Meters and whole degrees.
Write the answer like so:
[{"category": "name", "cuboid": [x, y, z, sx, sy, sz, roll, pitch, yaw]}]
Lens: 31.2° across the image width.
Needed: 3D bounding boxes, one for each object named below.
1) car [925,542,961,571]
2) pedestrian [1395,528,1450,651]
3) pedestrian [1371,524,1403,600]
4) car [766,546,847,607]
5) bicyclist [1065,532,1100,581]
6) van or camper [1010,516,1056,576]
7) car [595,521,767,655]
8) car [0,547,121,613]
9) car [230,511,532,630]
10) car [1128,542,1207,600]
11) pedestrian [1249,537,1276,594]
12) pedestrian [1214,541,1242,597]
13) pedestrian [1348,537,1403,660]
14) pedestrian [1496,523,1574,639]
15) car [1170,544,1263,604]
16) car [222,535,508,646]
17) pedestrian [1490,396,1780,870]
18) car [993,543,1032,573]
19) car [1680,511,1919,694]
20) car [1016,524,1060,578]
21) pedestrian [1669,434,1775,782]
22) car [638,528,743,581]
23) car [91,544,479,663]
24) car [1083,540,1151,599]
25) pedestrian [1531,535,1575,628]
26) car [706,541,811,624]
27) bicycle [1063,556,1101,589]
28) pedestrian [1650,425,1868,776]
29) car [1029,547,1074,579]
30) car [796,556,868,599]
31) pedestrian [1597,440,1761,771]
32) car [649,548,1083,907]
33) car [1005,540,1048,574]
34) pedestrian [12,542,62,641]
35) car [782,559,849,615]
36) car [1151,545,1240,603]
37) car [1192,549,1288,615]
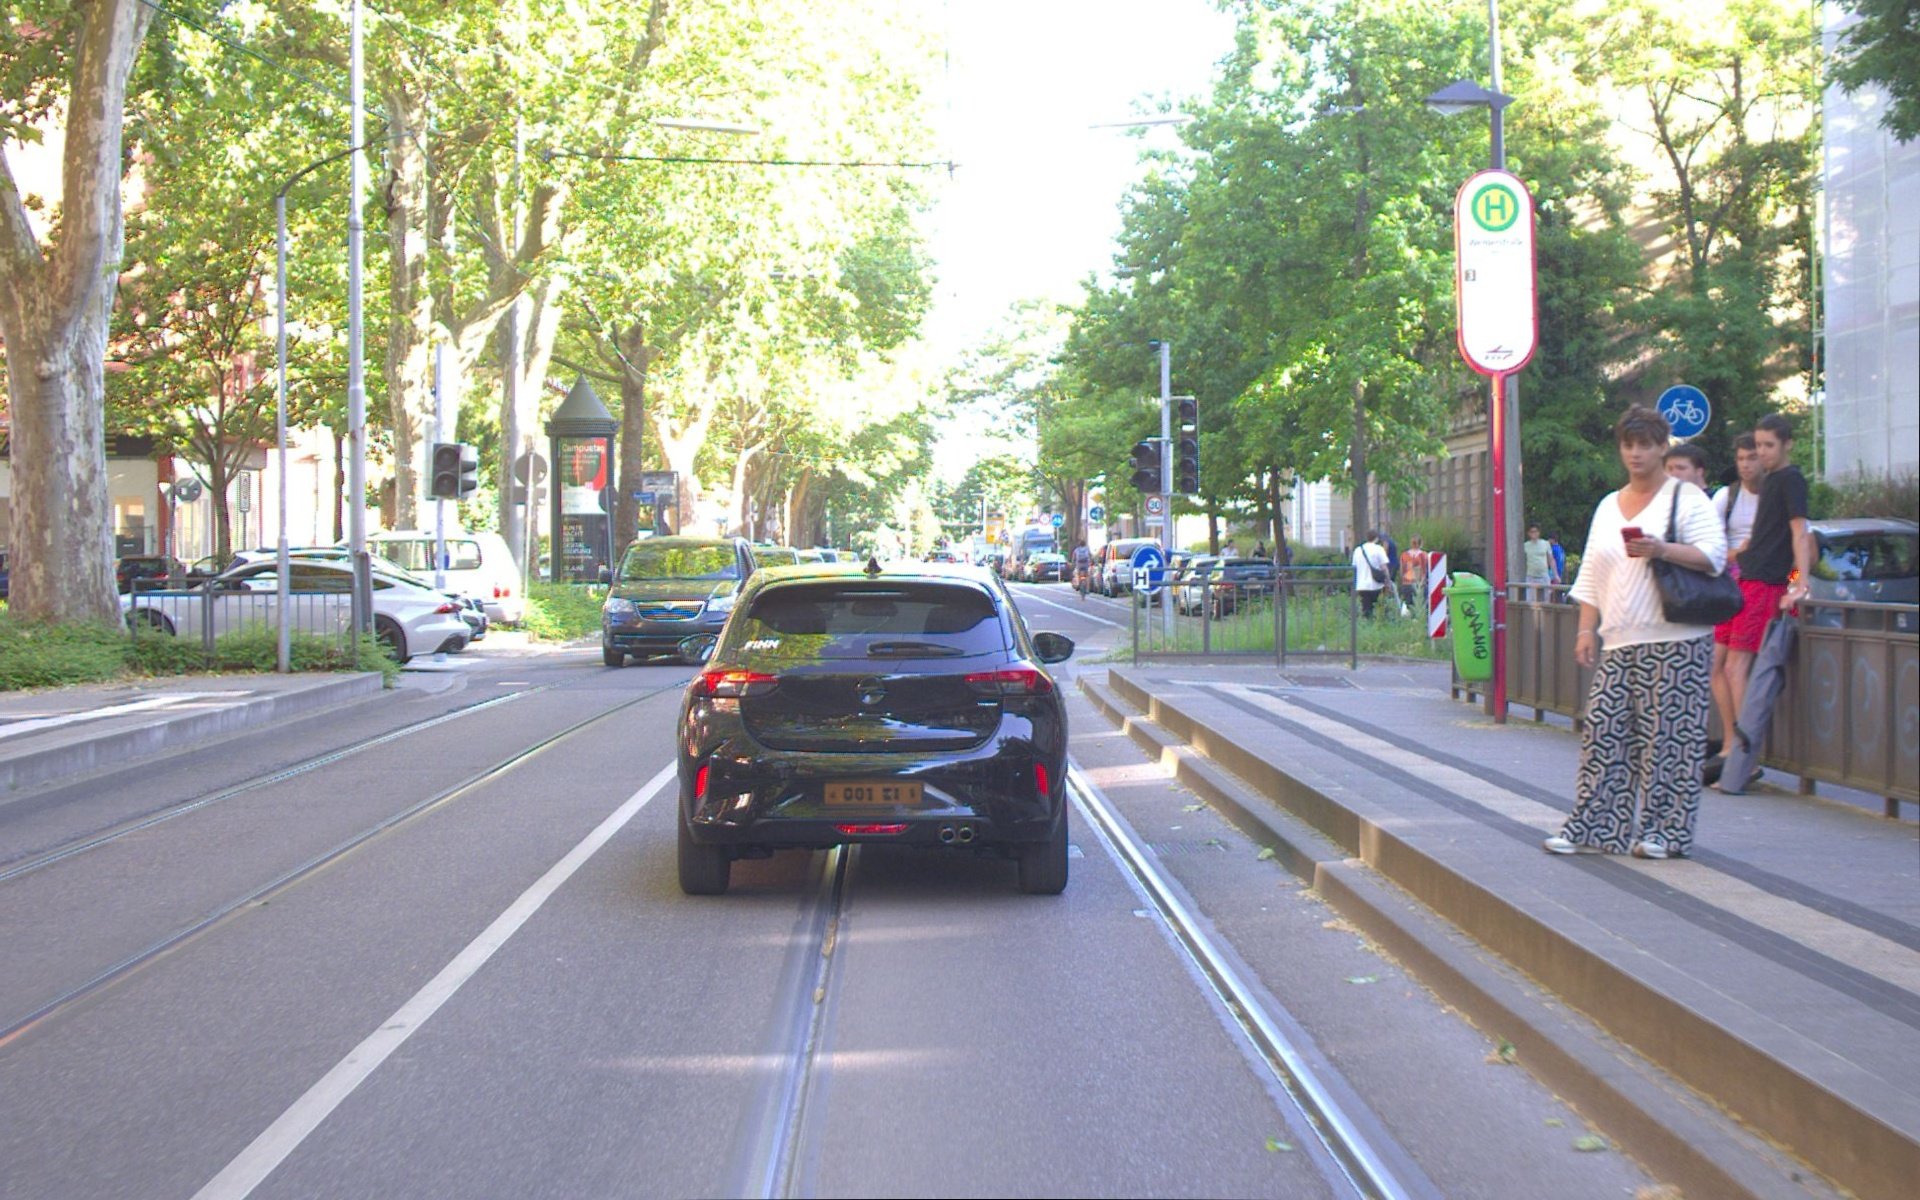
[{"category": "car", "cuboid": [-1.137, -2.806, 223.616, 2.254, 1.834, 5.531, -1, 1, -1]}, {"category": "pedestrian", "cuboid": [6.891, -0.163, 51.178, 0.726, 1.787, 0.967, -2, 1, 10]}, {"category": "pedestrian", "cuboid": [10.059, -0.897, 80.919, 0.598, 1.787, 0.728, 1, 0, -3]}, {"category": "car", "cuboid": [-3.752, -0.585, 84.555, 1.775, 1.456, 4.204, 1, 1, 0]}, {"category": "bicyclist", "cuboid": [3.763, -1.342, 105.833, 0.958, 1.494, 1.094, 1, 0, -2]}, {"category": "van or camper", "cuboid": [3.979, -2.964, 188.470, 2.254, 3.205, 5.531, -1, 1, -1]}, {"category": "car", "cuboid": [-3.773, -0.188, 47.286, 1.993, 1.710, 5.143, 1, 1, -1]}, {"category": "car", "cuboid": [-22.113, -0.485, 80.574, 4.526, 1.484, 1.861, 1, 1, -6]}, {"category": "car", "cuboid": [-9.302, -0.475, 55.518, 4.570, 1.828, 1.939, 1, 1, -2]}, {"category": "car", "cuboid": [5.968, -0.831, 99.221, 1.884, 1.562, 4.242, -2, 1, -1]}, {"category": "pedestrian", "cuboid": [9.140, -1.050, 103.802, 0.726, 1.703, 0.856, 1, 0, 1]}, {"category": "pedestrian", "cuboid": [8.106, -0.930, 103.828, 0.726, 1.687, 0.957, 1, 0, -1]}, {"category": "pedestrian", "cuboid": [6.190, -0.031, 51.187, 0.726, 1.787, 0.853, -2, 1, 10]}, {"category": "pedestrian", "cuboid": [9.478, -0.315, 56.672, 0.867, 1.878, 0.998, 1, 0, -18]}, {"category": "car", "cuboid": [6.317, -0.649, 85.175, 1.884, 1.363, 4.107, -2, 1, -1]}, {"category": "car", "cuboid": [-9.190, -0.156, 53.323, 4.139, 1.641, 1.902, 1, 1, -2]}, {"category": "pedestrian", "cuboid": [2.529, 0.114, 12.923, 0.638, 1.707, 0.836, 1, 1, -35]}, {"category": "car", "cuboid": [3.313, -2.666, 216.623, 2.254, 1.834, 5.531, -1, 1, -1]}, {"category": "car", "cuboid": [8.377, -0.030, 33.588, 1.762, 1.616, 4.442, -2, 1, 1]}, {"category": "car", "cuboid": [4.109, -2.615, 181.909, 2.085, 2.762, 4.698, -1, 1, -1]}, {"category": "pedestrian", "cuboid": [3.966, 0.035, 17.873, 0.493, 1.764, 0.703, 1, 0, 14]}, {"category": "car", "cuboid": [-13.606, -2.298, 173.859, 5.036, 2.366, 2.081, -3, 1, 0]}, {"category": "car", "cuboid": [-8.751, 0.040, 44.918, 4.763, 1.455, 1.955, 1, 1, -5]}, {"category": "car", "cuboid": [5.200, -1.009, 114.570, 1.884, 1.845, 4.968, -2, 1, -1]}, {"category": "pedestrian", "cuboid": [11.097, -0.344, 64.341, 0.617, 1.720, 0.554, 1, 0, -12]}, {"category": "car", "cuboid": [-4.133, -0.381, 71.103, 1.908, 1.632, 4.321, -1, 1, 0]}, {"category": "bicycle", "cuboid": [3.747, -0.848, 105.852, 0.968, 0.995, 2.583, 1, 1, -2]}, {"category": "pedestrian", "cuboid": [3.957, 0.002, 17.069, 0.844, 1.695, 0.693, 1, 0, -7]}, {"category": "car", "cuboid": [4.359, -1.777, 164.618, 1.884, 1.429, 4.530, -2, 1, -1]}, {"category": "car", "cuboid": [-4.483, -0.801, 120.047, 1.660, 1.439, 3.474, 1, 1, -17]}, {"category": "pedestrian", "cuboid": [3.870, 0.026, 18.533, 0.687, 1.749, 0.580, 1, 0, -7]}, {"category": "car", "cuboid": [-0.411, 0.503, 16.127, 1.763, 1.455, 3.950, 1, 1, -1]}, {"category": "car", "cuboid": [3.770, -2.433, 195.674, 2.254, 1.834, 5.531, -1, 1, -1]}, {"category": "pedestrian", "cuboid": [-17.060, -0.164, 63.558, 0.644, 1.803, 0.751, 1, 0, 5]}, {"category": "car", "cuboid": [-4.230, -0.402, 101.202, 1.815, 1.563, 4.116, -1, 1, -1]}, {"category": "car", "cuboid": [6.445, -0.724, 94.382, 1.884, 1.462, 4.594, -2, 1, -2]}, {"category": "car", "cuboid": [6.361, -0.424, 78.359, 1.672, 1.407, 3.843, -2, 1, -2]}]
